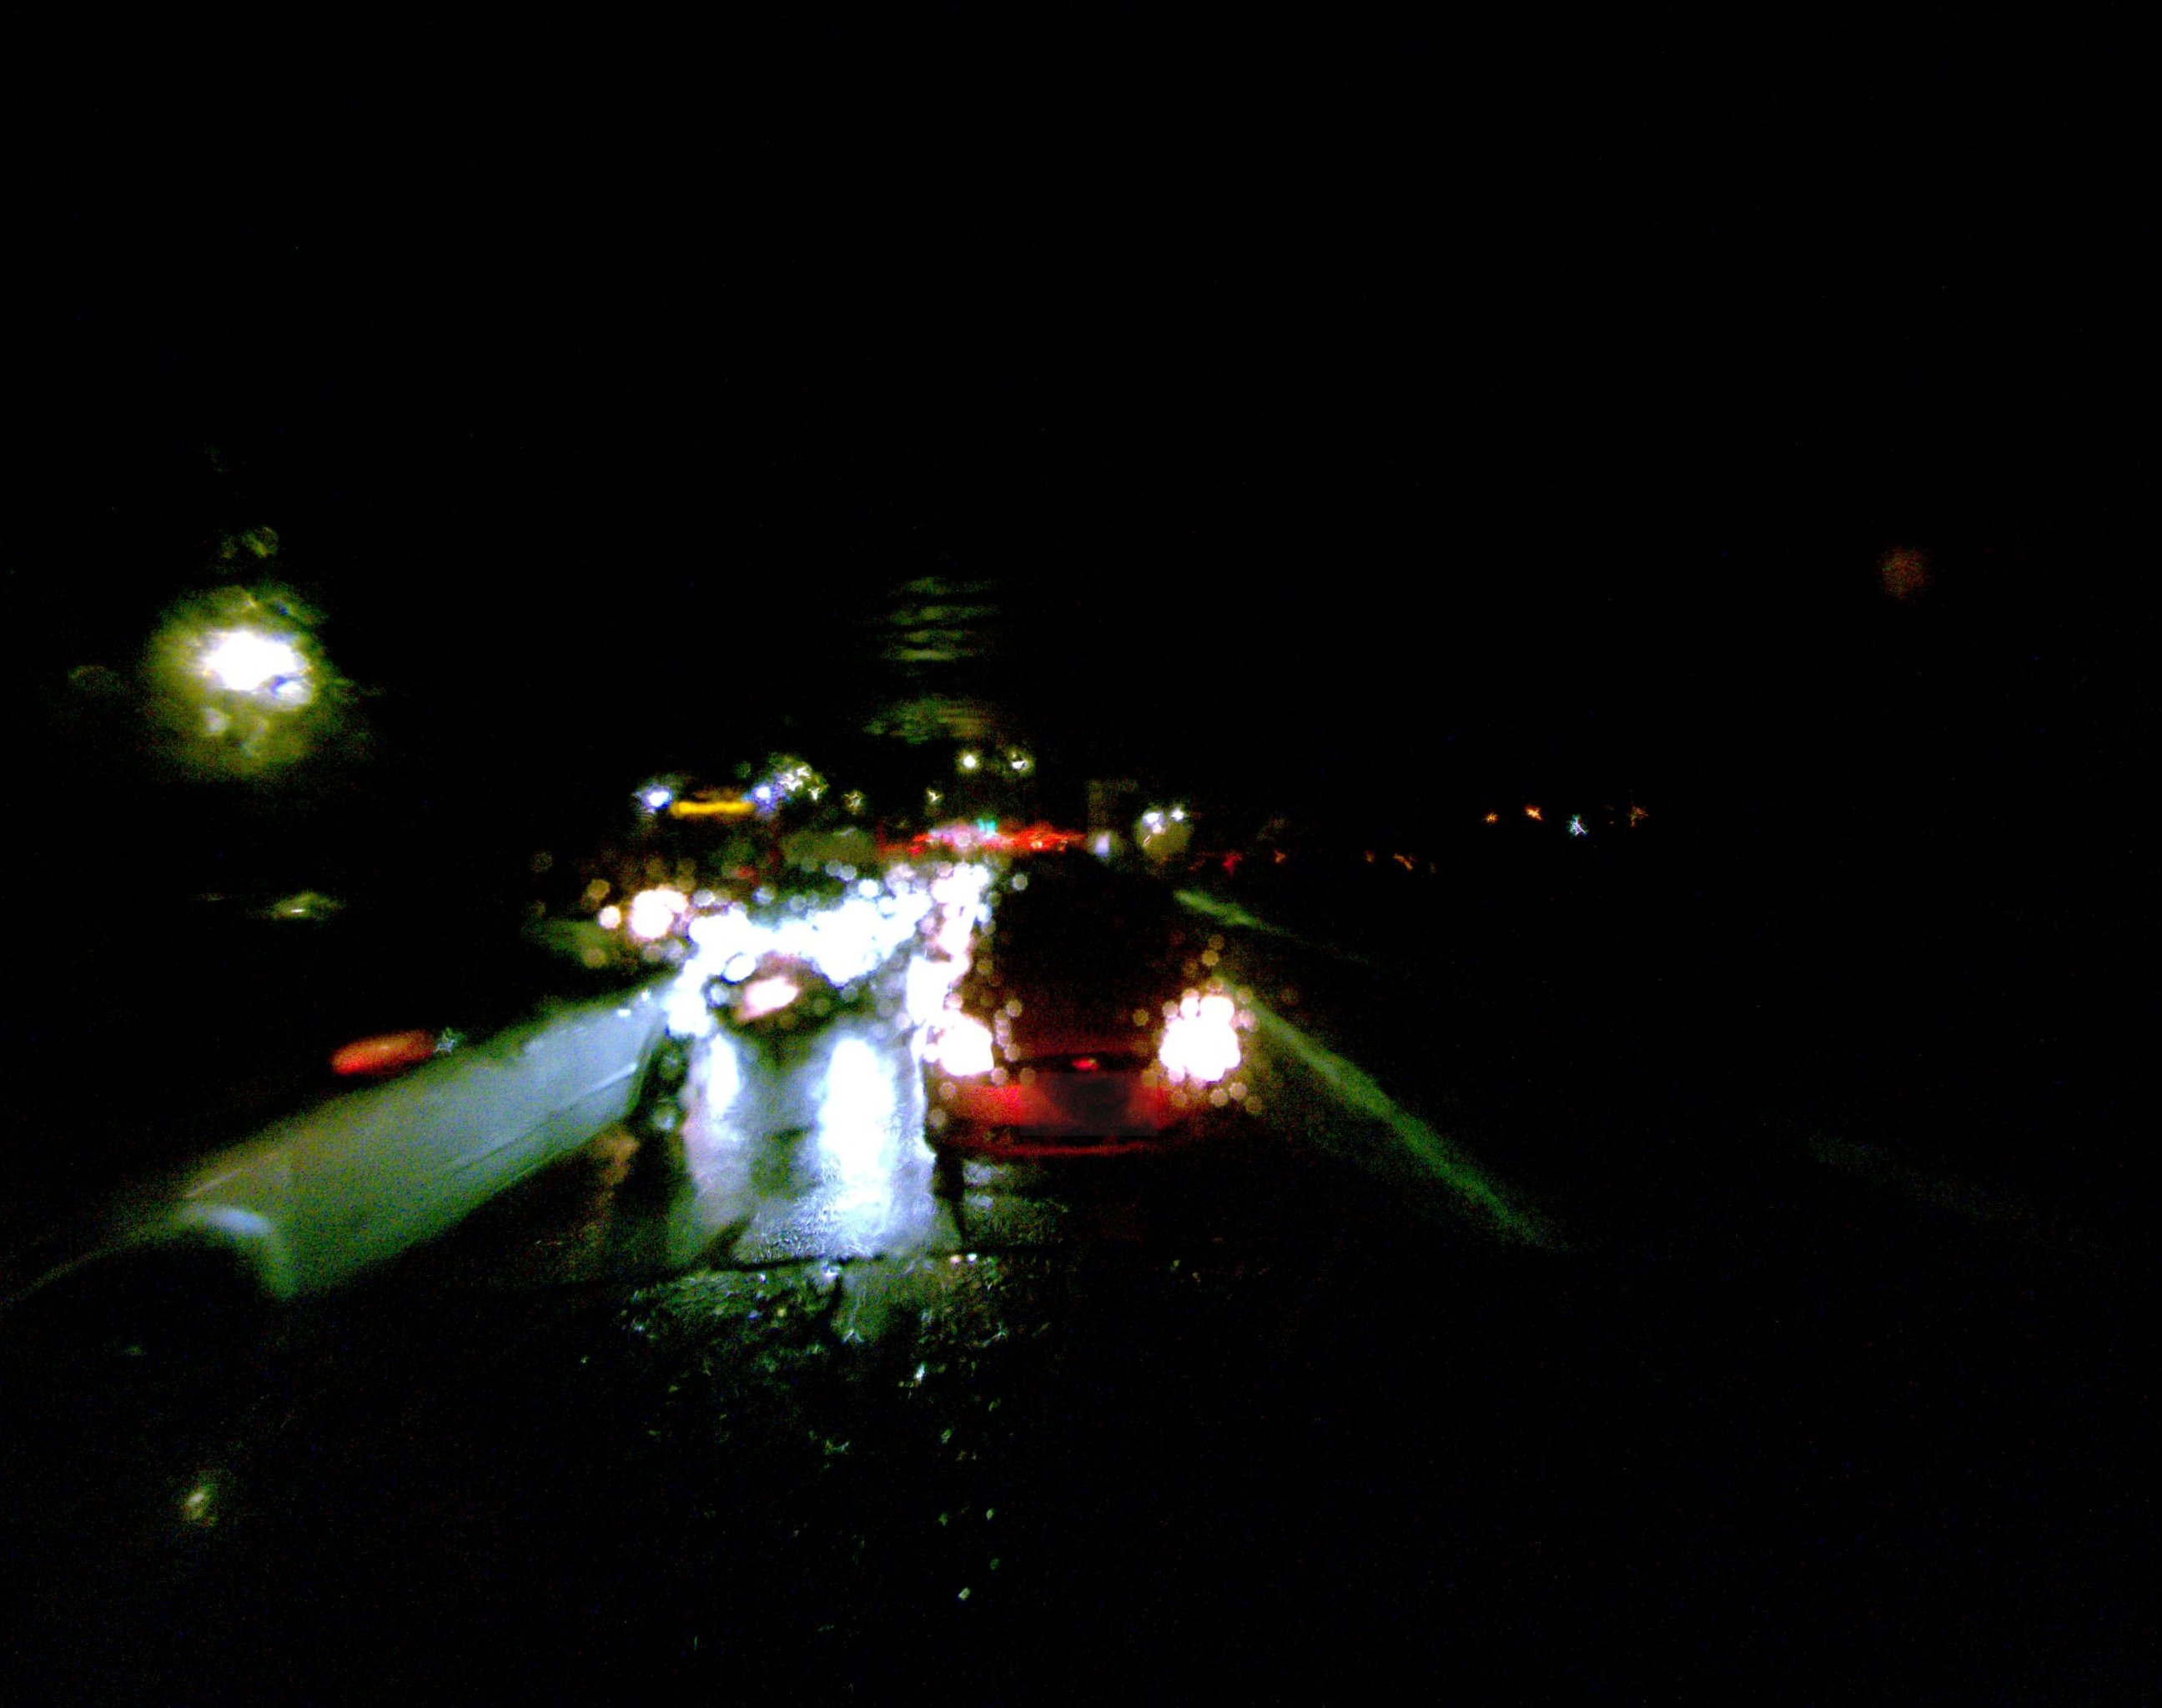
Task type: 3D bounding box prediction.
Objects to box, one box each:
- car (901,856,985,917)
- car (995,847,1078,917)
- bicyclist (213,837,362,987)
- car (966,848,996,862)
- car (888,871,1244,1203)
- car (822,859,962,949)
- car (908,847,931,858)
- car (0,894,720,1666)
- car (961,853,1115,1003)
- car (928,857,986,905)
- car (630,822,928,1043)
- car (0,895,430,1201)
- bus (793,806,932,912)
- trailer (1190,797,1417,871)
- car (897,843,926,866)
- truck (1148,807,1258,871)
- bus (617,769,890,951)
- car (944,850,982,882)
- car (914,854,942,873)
[{"bbox_3d":[-3.918,0.881,22.165,1.629,1.494,3.999,-2,1,1],"label":"car"},{"bbox_3d":[-1.107,0.634,19.696,1.881,1.534,3.999,-2,1,-2],"label":"car"},{"bbox_3d":[-9.847,0.683,9.471,0.798,1.752,0.901,-2,1,1],"label":"bicyclist"},{"bbox_3d":[-12.136,0.127,92.127,2.003,1.596,3.990,-3,1,-32],"label":"car"},{"bbox_3d":[-0.043,0.896,5.501,1.603,1.360,3.942,-2,1,1],"label":"car"},{"bbox_3d":[-3.737,0.933,15.733,1.869,1.503,3.766,-2,1,1],"label":"car"},{"bbox_3d":[-23.715,-0.200,111.727,1.826,1.595,4.133,-3,1,-34],"label":"car"},{"bbox_3d":[-3.172,1.015,2.692,1.792,1.359,3.999,-2,2,0],"label":"car"},{"bbox_3d":[-0.463,0.839,10.611,1.683,1.591,3.996,-2,1,1],"label":"car"},{"bbox_3d":[-4.349,0.894,27.143,1.683,1.463,3.998,-2,1,-5],"label":"car"},{"bbox_3d":[-3.365,0.737,9.571,1.999,2.076,4.347,-2,1,-1],"label":"car"},{"bbox_3d":[-6.583,1.111,4.849,1.755,1.423,3.758,-2,1,-4],"label":"car"},{"bbox_3d":[-7.595,0.165,27.974,2.777,3.105,9.758,-2,0,-4],"label":"bus"},{"bbox_3d":[14.630,-1.217,50.712,13.890,4.152,3.974,-2,1,20],"label":"trailer"},{"bbox_3d":[-11.504,0.073,51.618,1.855,1.476,4.624,-1,0,-12],"label":"car"},{"bbox_3d":[8.501,-1.004,53.112,6.359,4.152,3.977,-2,1,33],"label":"truck"},{"bbox_3d":[-6.958,0.114,18.226,2.777,3.105,9.758,-2,0,-4],"label":"bus"},{"bbox_3d":[-6.386,0.629,41.384,1.743,1.581,3.997,-2,1,-6],"label":"car"},{"bbox_3d":[-12.745,0.767,63.129,1.883,1.463,3.994,-2,1,-16],"label":"car"}]
